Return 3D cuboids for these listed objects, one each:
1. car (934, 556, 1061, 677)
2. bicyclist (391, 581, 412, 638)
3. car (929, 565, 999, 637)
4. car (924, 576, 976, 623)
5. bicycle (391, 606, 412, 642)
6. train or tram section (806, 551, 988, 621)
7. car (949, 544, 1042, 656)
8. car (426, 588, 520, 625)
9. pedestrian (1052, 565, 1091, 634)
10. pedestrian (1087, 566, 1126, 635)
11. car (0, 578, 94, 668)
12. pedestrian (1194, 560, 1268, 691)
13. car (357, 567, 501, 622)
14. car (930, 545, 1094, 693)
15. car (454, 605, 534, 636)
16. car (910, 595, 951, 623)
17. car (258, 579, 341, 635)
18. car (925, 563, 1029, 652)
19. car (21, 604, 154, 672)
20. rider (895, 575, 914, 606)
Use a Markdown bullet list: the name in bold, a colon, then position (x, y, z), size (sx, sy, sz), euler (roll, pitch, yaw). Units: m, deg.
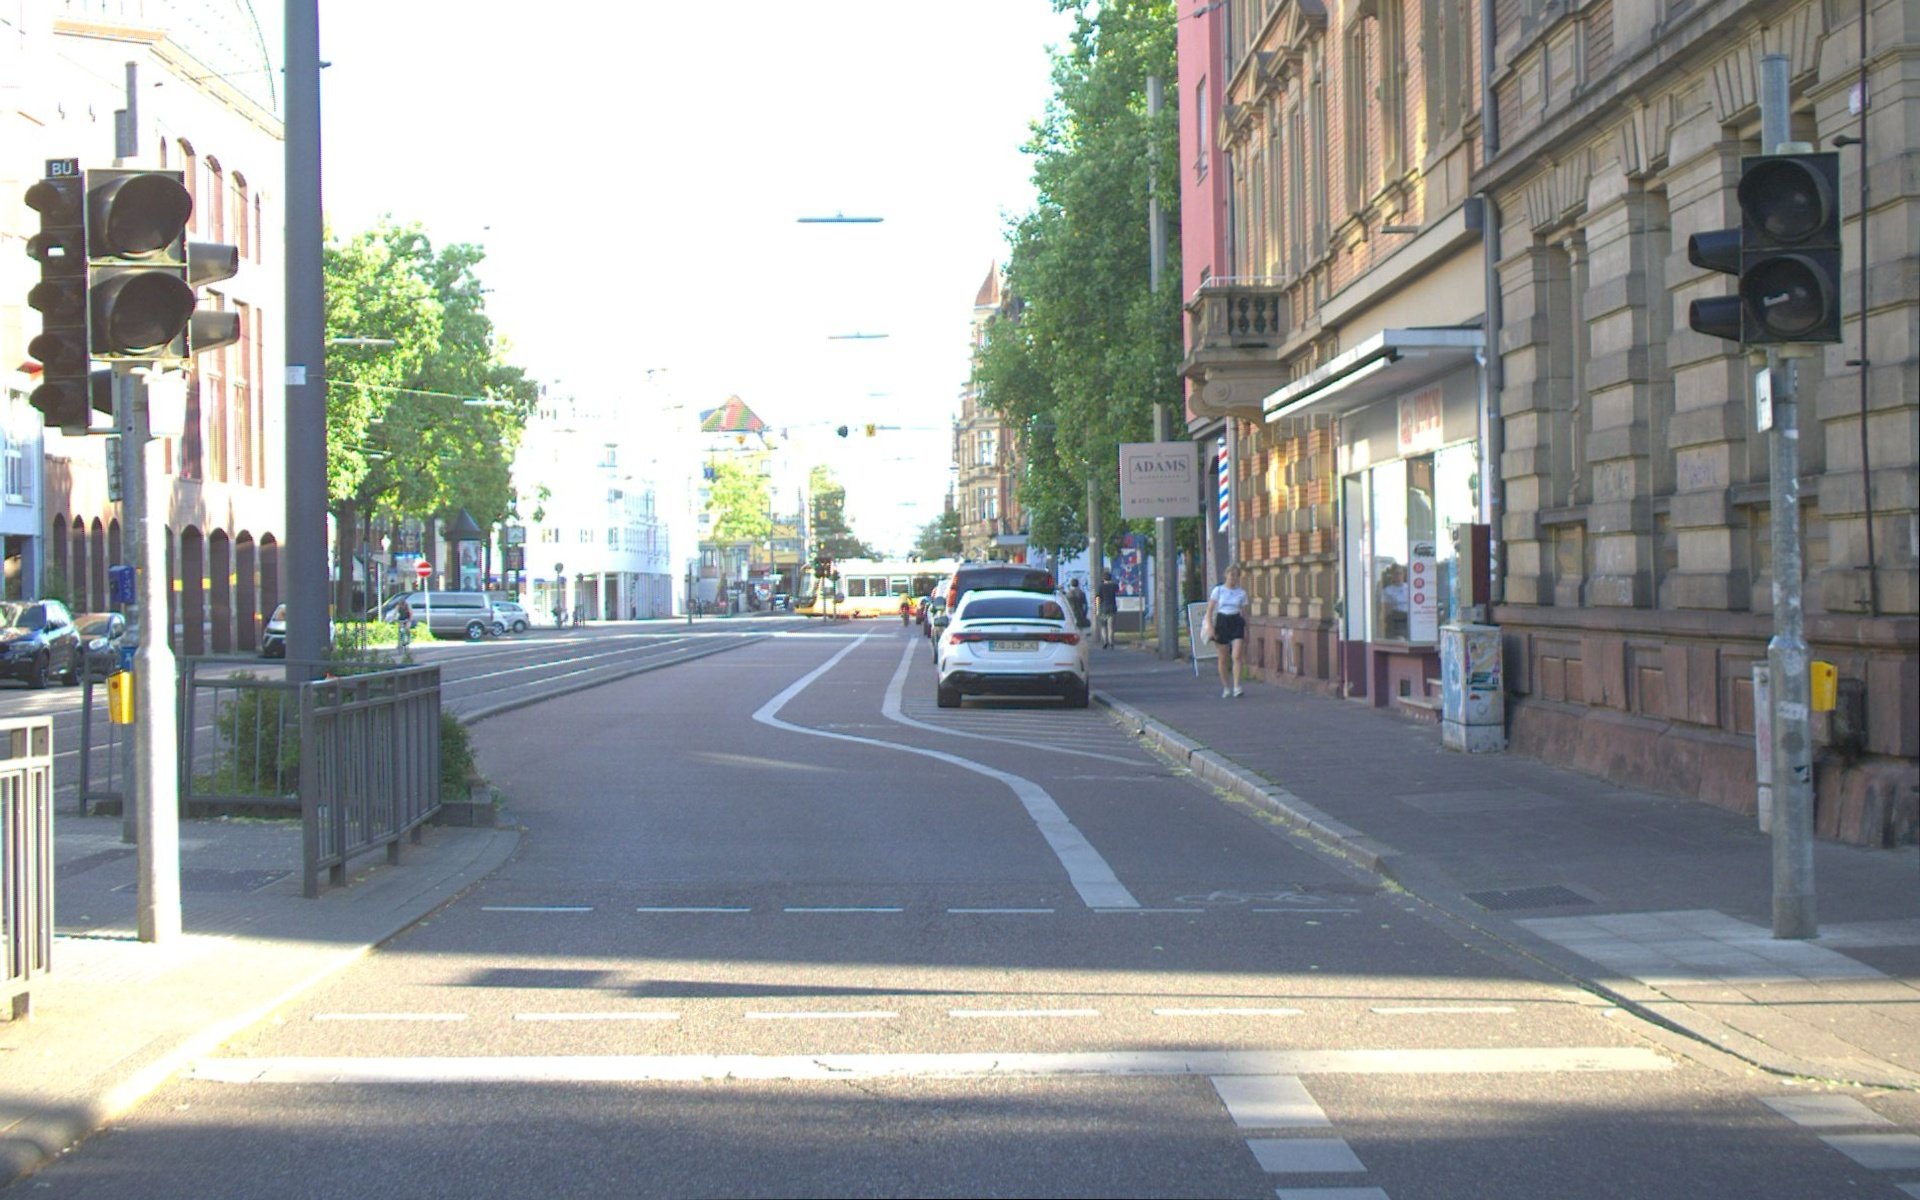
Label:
- **car**: position (0.608, 0.250, 56.187), size (1.955, 1.862, 4.989), euler (1, 0, 1)
- **bicyclist**: position (-17.155, 0.288, 105.553), size (0.571, 1.706, 0.746), euler (-3, 0, -9)
- **car**: position (0.116, 0.016, 101.946), size (1.971, 2.007, 4.558), euler (-2, 0, 0)
- **car**: position (-0.360, -0.019, 120.711), size (1.723, 1.562, 4.083), euler (-1, 0, -1)
- **bicycle**: position (-17.128, 0.742, 105.477), size (0.582, 1.074, 2.186), euler (-3, 0, -10)
- **train or tram section**: position (-3.802, -0.851, 211.088), size (12.054, 3.946, 2.700), euler (2, 0, -40)
- **car**: position (0.721, 0.003, 66.914), size (1.705, 2.112, 3.706), euler (0, 0, 2)
- **car**: position (-22.538, 0.320, 159.165), size (3.868, 1.622, 1.875), euler (1, 0, -31)
- **pedestrian**: position (2.606, -0.018, 80.337), size (0.776, 1.561, 0.913), euler (-4, 0, 1)
- **pedestrian**: position (3.412, 0.007, 80.366), size (0.776, 1.561, 0.913), euler (-4, 0, 1)
- **car**: position (-18.706, 0.456, 67.893), size (2.090, 1.707, 4.819), euler (1, -1, -2)
- **pedestrian**: position (3.348, 0.312, 42.600), size (0.776, 1.561, 0.913), euler (-4, 0, 2)
- **car**: position (-21.596, -0.207, 139.892), size (5.252, 2.036, 2.418), euler (2, -2, -32)
- **car**: position (0.638, 0.225, 44.222), size (1.966, 1.765, 4.875), euler (1, 0, 0)
- **car**: position (-22.965, 1.013, 169.526), size (3.519, 1.476, 1.582), euler (1, 0, -32)
- **car**: position (-1.555, 0.468, 180.284), size (2.065, 1.384, 4.225), euler (2, 0, -1)
- **car**: position (-19.544, 0.191, 101.864), size (1.869, 1.594, 4.255), euler (0, 0, -3)
- **car**: position (0.319, 0.148, 72.294), size (1.949, 1.782, 5.182), euler (1, 0, -2)
- **car**: position (-19.088, 0.816, 75.358), size (1.869, 1.445, 3.583), euler (0, 0, 2)
- **rider**: position (-2.692, -0.451, 166.063), size (0.883, 1.476, 0.713), euler (1, 0, 0)
